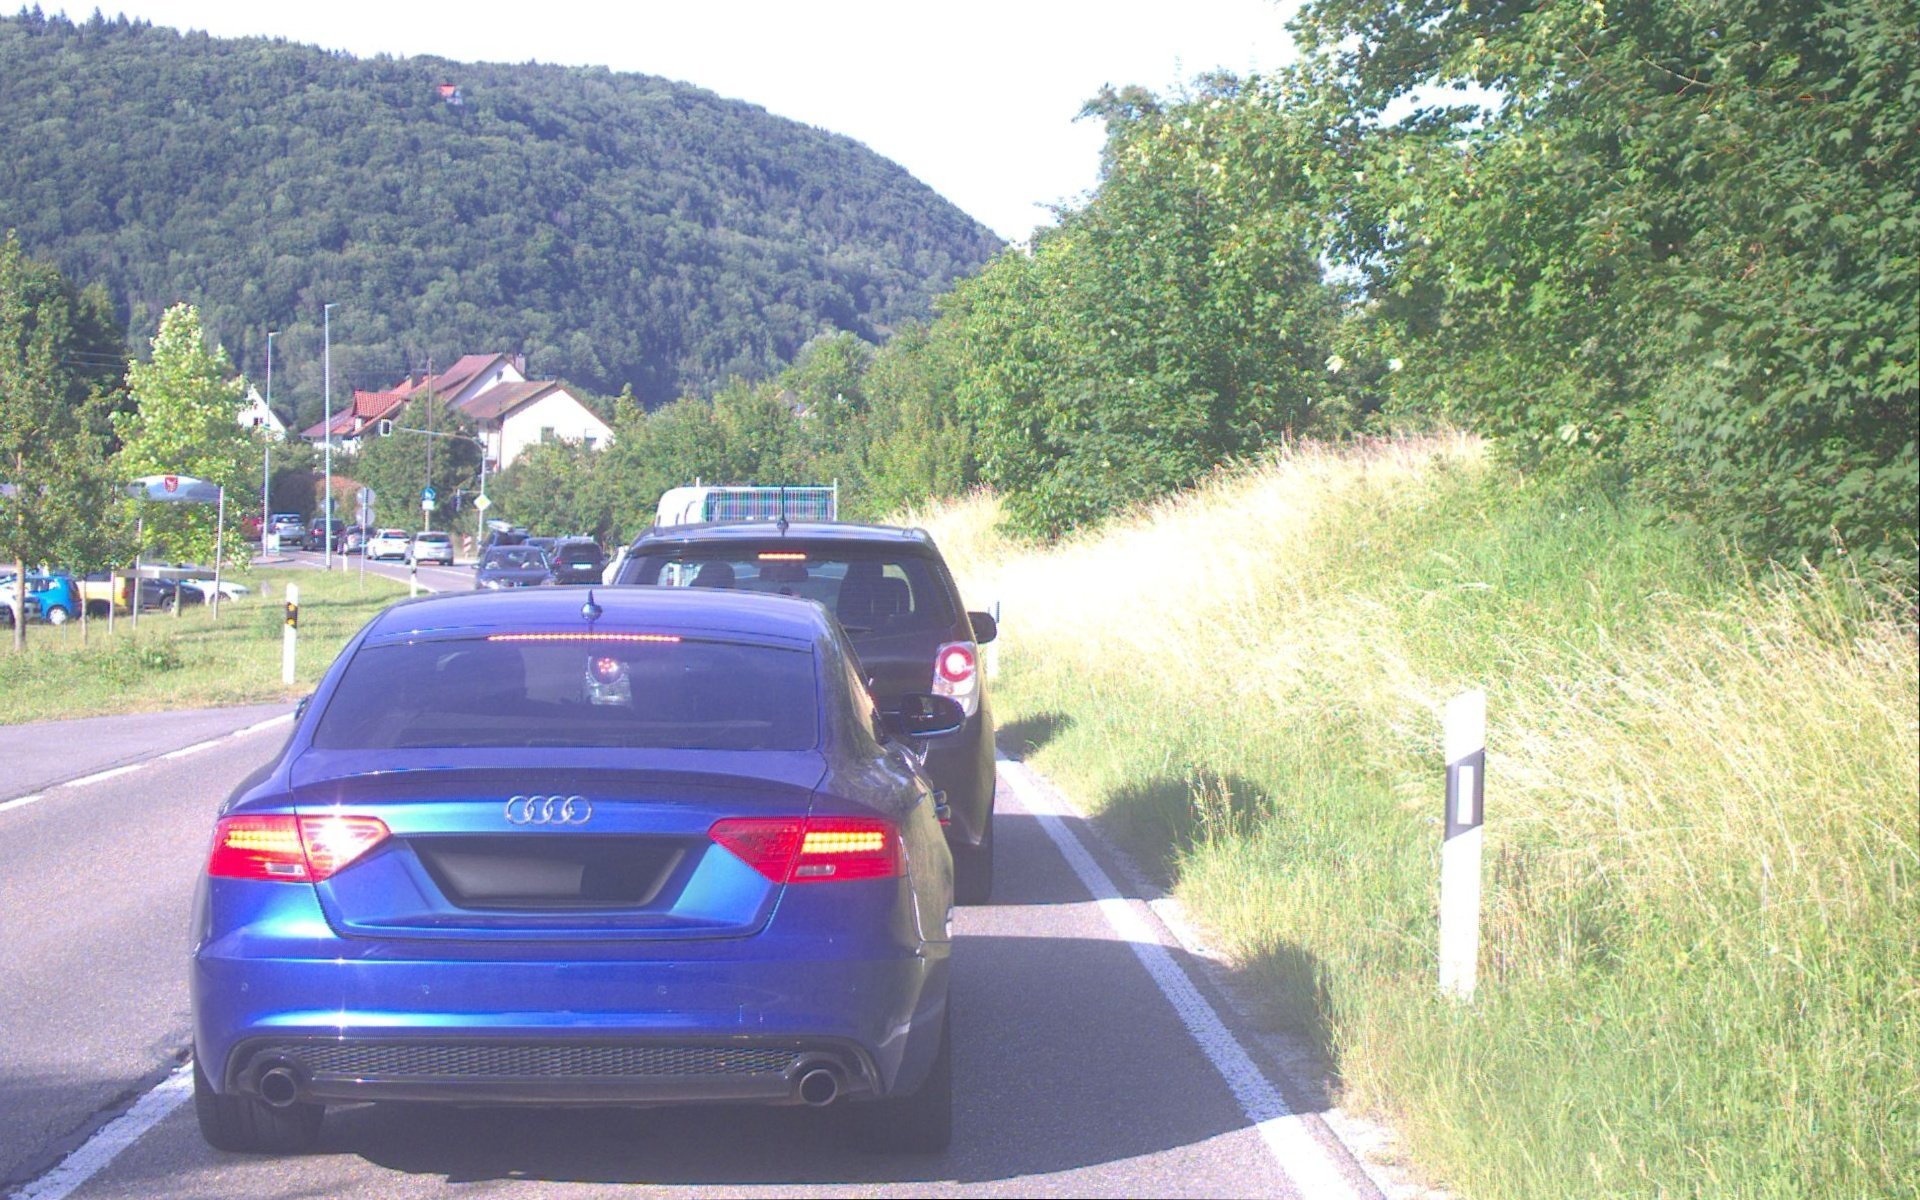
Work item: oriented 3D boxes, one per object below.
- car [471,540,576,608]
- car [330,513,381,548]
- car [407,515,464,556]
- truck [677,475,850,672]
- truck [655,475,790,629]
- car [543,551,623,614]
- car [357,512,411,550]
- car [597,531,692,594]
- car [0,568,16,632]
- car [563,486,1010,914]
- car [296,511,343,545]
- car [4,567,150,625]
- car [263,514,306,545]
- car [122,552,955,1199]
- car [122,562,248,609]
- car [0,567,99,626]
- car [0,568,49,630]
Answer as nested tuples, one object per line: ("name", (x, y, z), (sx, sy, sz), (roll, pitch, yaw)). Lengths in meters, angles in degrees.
("car", (-9.512, -0.569, 74.729), (1.703, 1.425, 4.052), (1, 1, -15))
("car", (-29.984, -3.434, 170.468), (1.845, 1.706, 4.001), (1, 1, -19))
("car", (-22.469, -2.765, 147.187), (1.845, 1.706, 4.001), (1, 1, -17))
("truck", (-2.771, -0.377, 48.254), (2.229, 2.561, 6.104), (1, 1, -4))
("truck", (-4.235, -0.843, 61.090), (2.229, 2.561, 6.709), (1, 1, -4))
("car", (-10.668, -0.504, 97.146), (1.845, 1.706, 4.001), (1, 1, -12))
("car", (-26.586, -3.179, 158.568), (1.845, 1.706, 4.001), (1, 1, -19))
("car", (-7.738, -0.926, 83.997), (1.845, 1.477, 4.001), (1, 1, -12))
("car", (-27.854, -0.036, 93.194), (3.986, 1.705, 2.000), (1, 0, -3))
("car", (-0.690, 0.380, 15.570), (1.754, 1.675, 3.846), (1, 0, 0))
("car", (-33.549, -3.743, 179.959), (1.845, 1.706, 4.001), (1, 1, -19))
("car", (-26.955, -0.134, 105.003), (3.986, 1.705, 2.000), (1, 0, -3))
("car", (-37.720, -3.936, 191.908), (1.845, 1.706, 4.001), (1, 1, -19))
("car", (-0.905, 0.603, 9.268), (1.754, 1.425, 3.846), (1, 1, 0))
("car", (-26.880, -0.507, 119.296), (3.986, 1.573, 1.753), (1, 0, -3))
("car", (-27.846, -0.120, 102.266), (3.986, 1.705, 2.000), (1, 0, -3))
("car", (-27.808, -0.066, 96.479), (3.986, 1.705, 2.000), (1, 0, -3))
